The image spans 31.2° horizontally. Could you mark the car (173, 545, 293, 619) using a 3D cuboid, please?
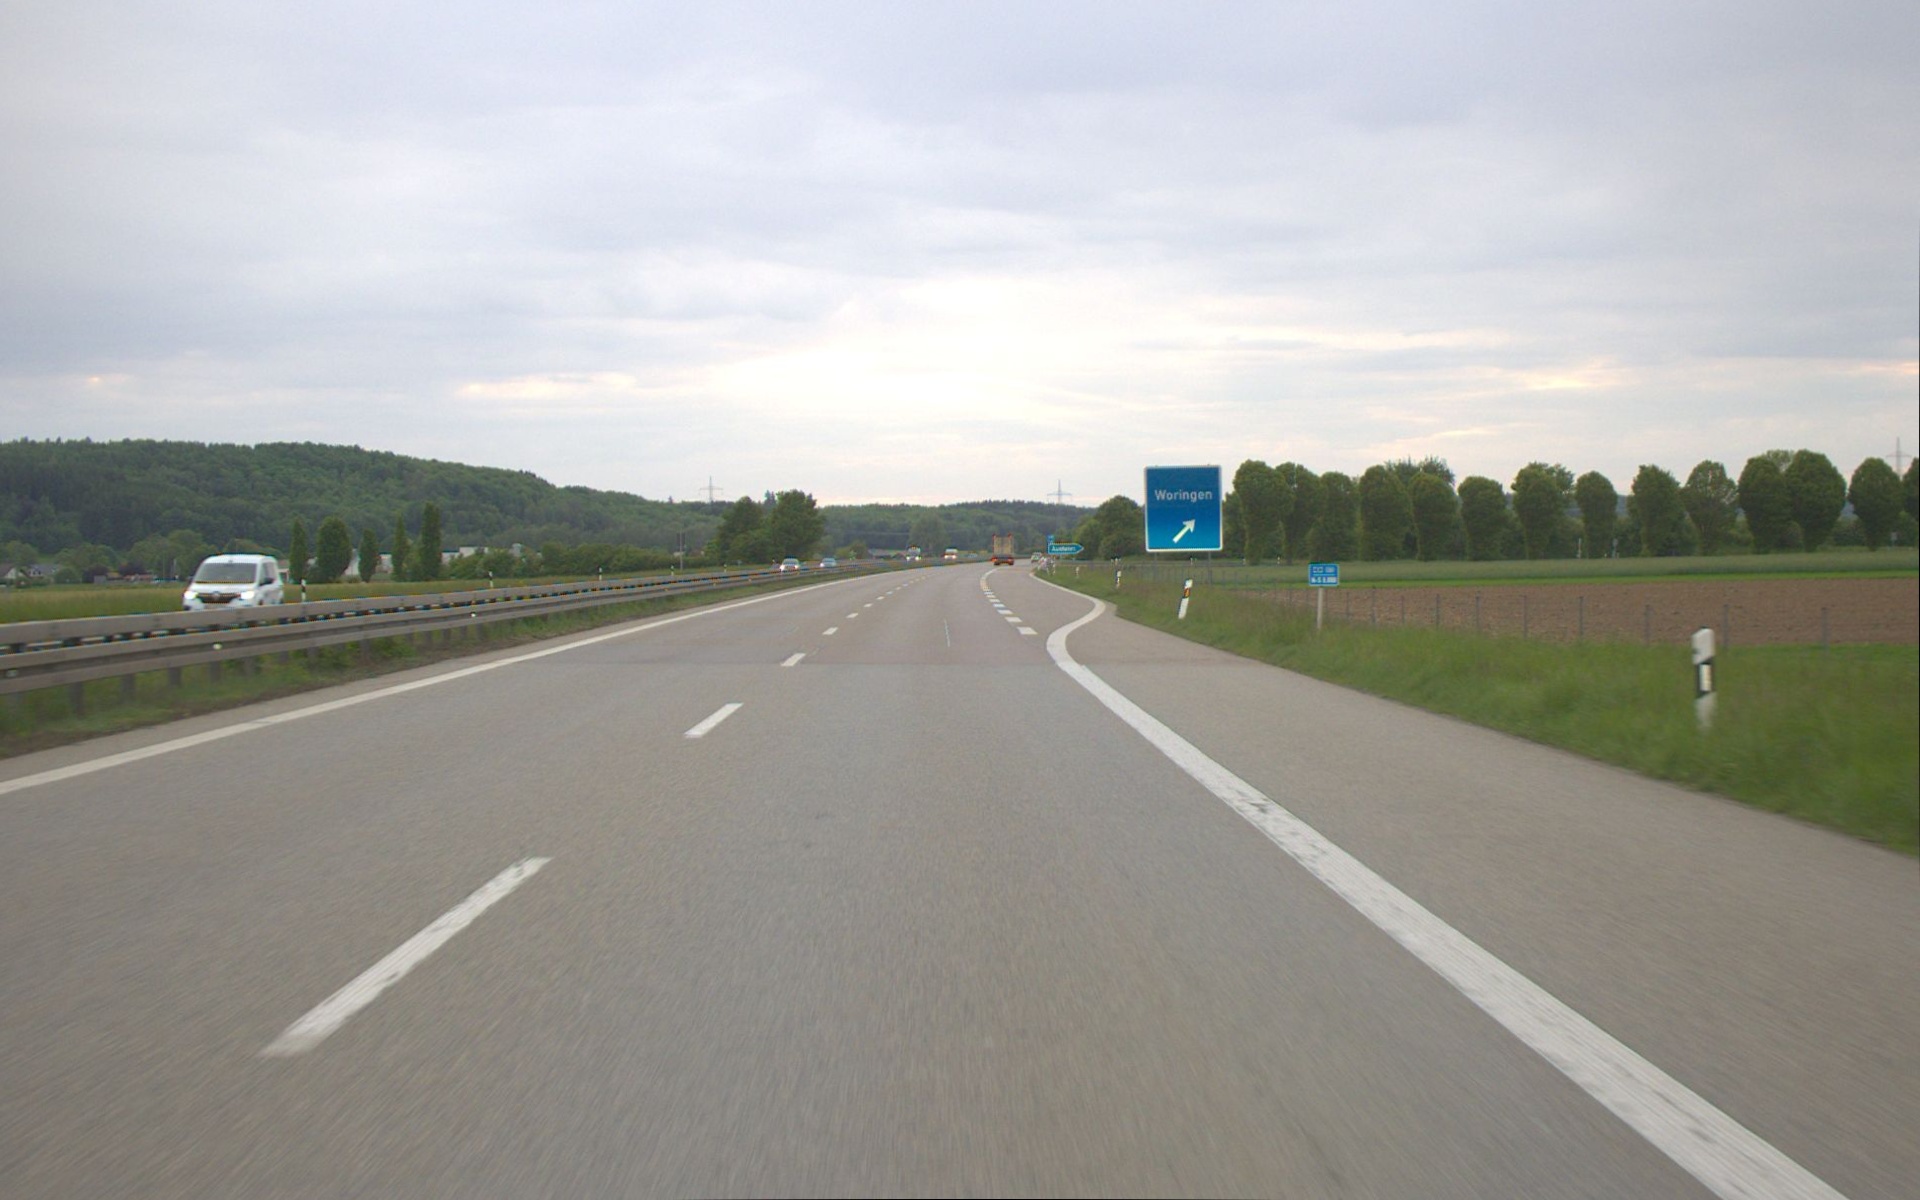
[{"bbox_3d":[-18.004,-0.460,85.346,1.993,1.759,4.952,1,1,-1],"label":"car"}]
